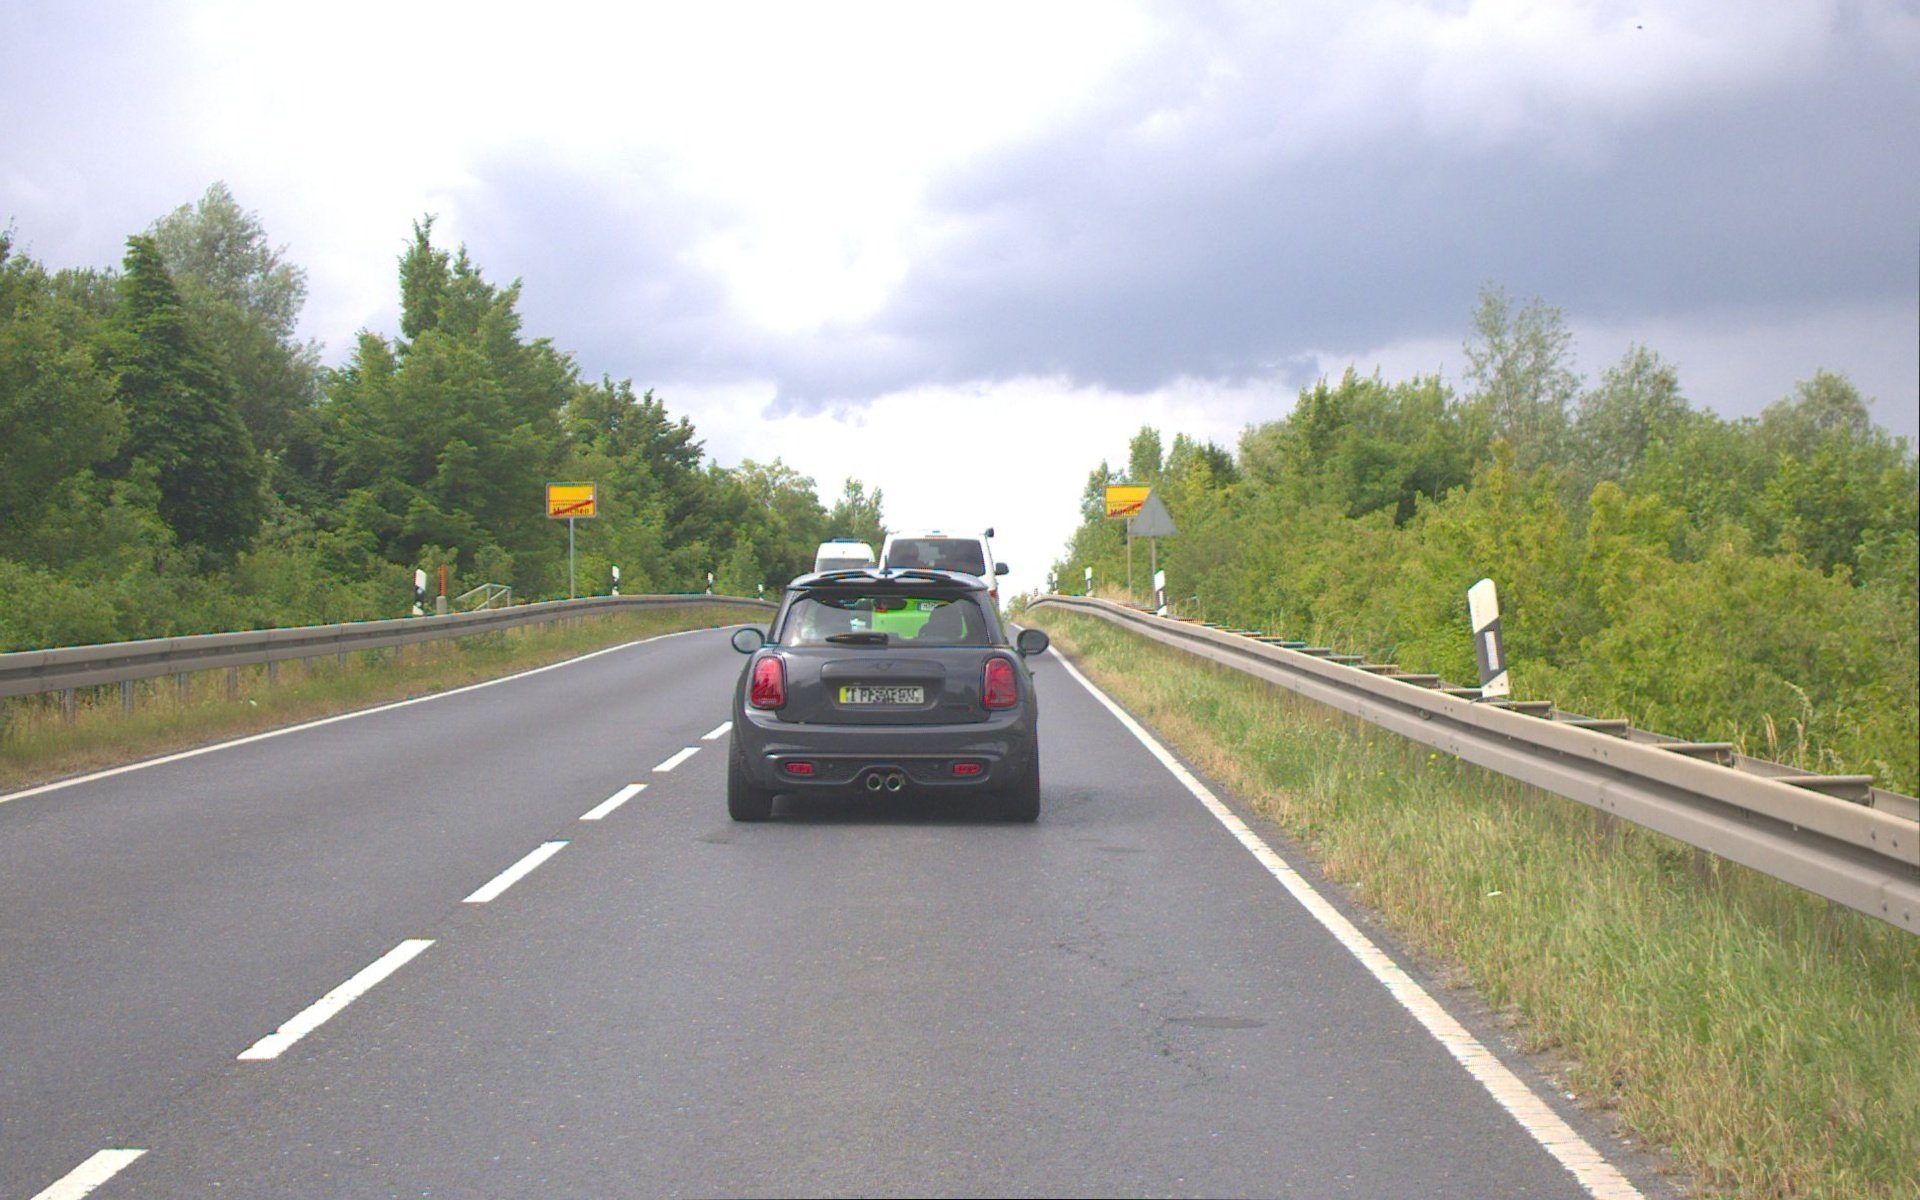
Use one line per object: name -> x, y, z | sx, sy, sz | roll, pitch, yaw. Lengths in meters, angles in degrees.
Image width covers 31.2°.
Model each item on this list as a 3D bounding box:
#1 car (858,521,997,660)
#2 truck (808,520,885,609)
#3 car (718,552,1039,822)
car -> -0.448, -0.156, 51.911 | 2.022, 2.006, 4.000 | 0, 1, 1
truck -> -3.658, -1.156, 111.778 | 2.065, 2.733, 7.007 | -2, 1, 1
car -> -0.500, 0.445, 20.612 | 1.732, 1.451, 4.000 | 0, 1, -2
